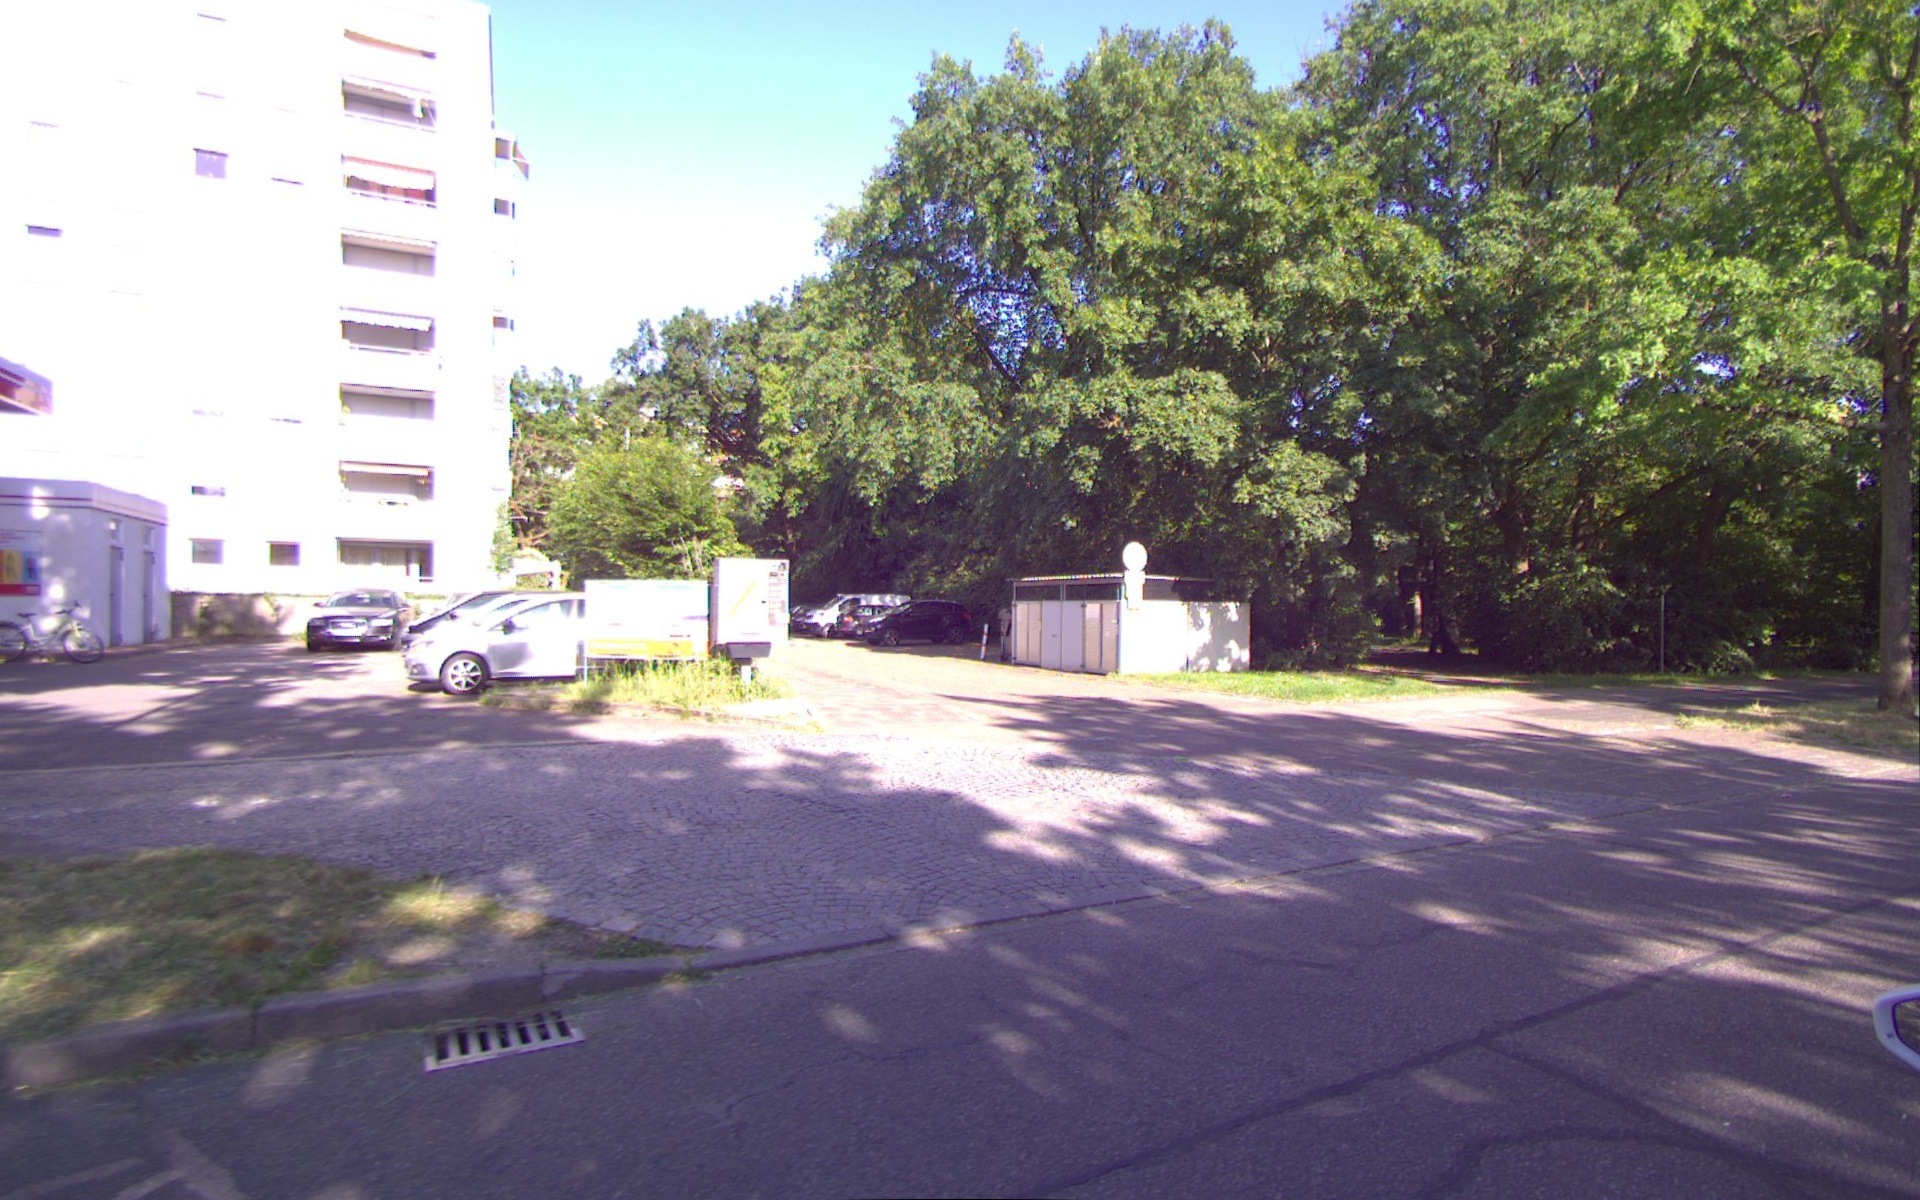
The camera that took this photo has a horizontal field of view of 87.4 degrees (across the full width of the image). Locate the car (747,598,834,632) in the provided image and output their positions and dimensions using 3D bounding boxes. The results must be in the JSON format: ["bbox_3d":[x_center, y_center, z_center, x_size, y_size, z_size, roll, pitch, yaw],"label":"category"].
[{"bbox_3d":[-9.103,0.810,54.096,4.204,1.777,1.984,1,0,-30],"label":"car"}]

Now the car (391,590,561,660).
[{"bbox_3d":[-10.235,0.516,21.462,3.159,1.386,1.419,1,1,-22],"label":"car"}]

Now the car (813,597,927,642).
[{"bbox_3d":[-3.658,0.786,40.986,4.204,1.777,1.984,1,0,-30],"label":"car"}]

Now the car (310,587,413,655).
[{"bbox_3d":[-13.903,0.457,23.496,1.562,1.419,3.188,1,1,-22],"label":"car"}]

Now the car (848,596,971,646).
[{"bbox_3d":[-1.873,0.767,37.614,4.204,1.777,1.984,1,0,-30],"label":"car"}]

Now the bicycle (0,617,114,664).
[{"bbox_3d":[-16.570,0.728,18.214,1.750,0.818,0.617,1,0,-16],"label":"bicycle"}]

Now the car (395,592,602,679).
[{"bbox_3d":[-7.948,0.597,17.523,3.159,1.386,1.419,1,1,-22],"label":"car"}]

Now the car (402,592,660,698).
[{"bbox_3d":[-6.434,0.640,15.307,3.436,1.441,1.543,1,1,-22],"label":"car"}]

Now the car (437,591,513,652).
[{"bbox_3d":[-11.938,0.488,24.850,1.438,1.335,3.188,1,1,-22],"label":"car"}]

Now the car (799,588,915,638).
[{"bbox_3d":[-4.599,0.596,44.825,4.764,2.160,1.987,1,0,-26],"label":"car"}]
